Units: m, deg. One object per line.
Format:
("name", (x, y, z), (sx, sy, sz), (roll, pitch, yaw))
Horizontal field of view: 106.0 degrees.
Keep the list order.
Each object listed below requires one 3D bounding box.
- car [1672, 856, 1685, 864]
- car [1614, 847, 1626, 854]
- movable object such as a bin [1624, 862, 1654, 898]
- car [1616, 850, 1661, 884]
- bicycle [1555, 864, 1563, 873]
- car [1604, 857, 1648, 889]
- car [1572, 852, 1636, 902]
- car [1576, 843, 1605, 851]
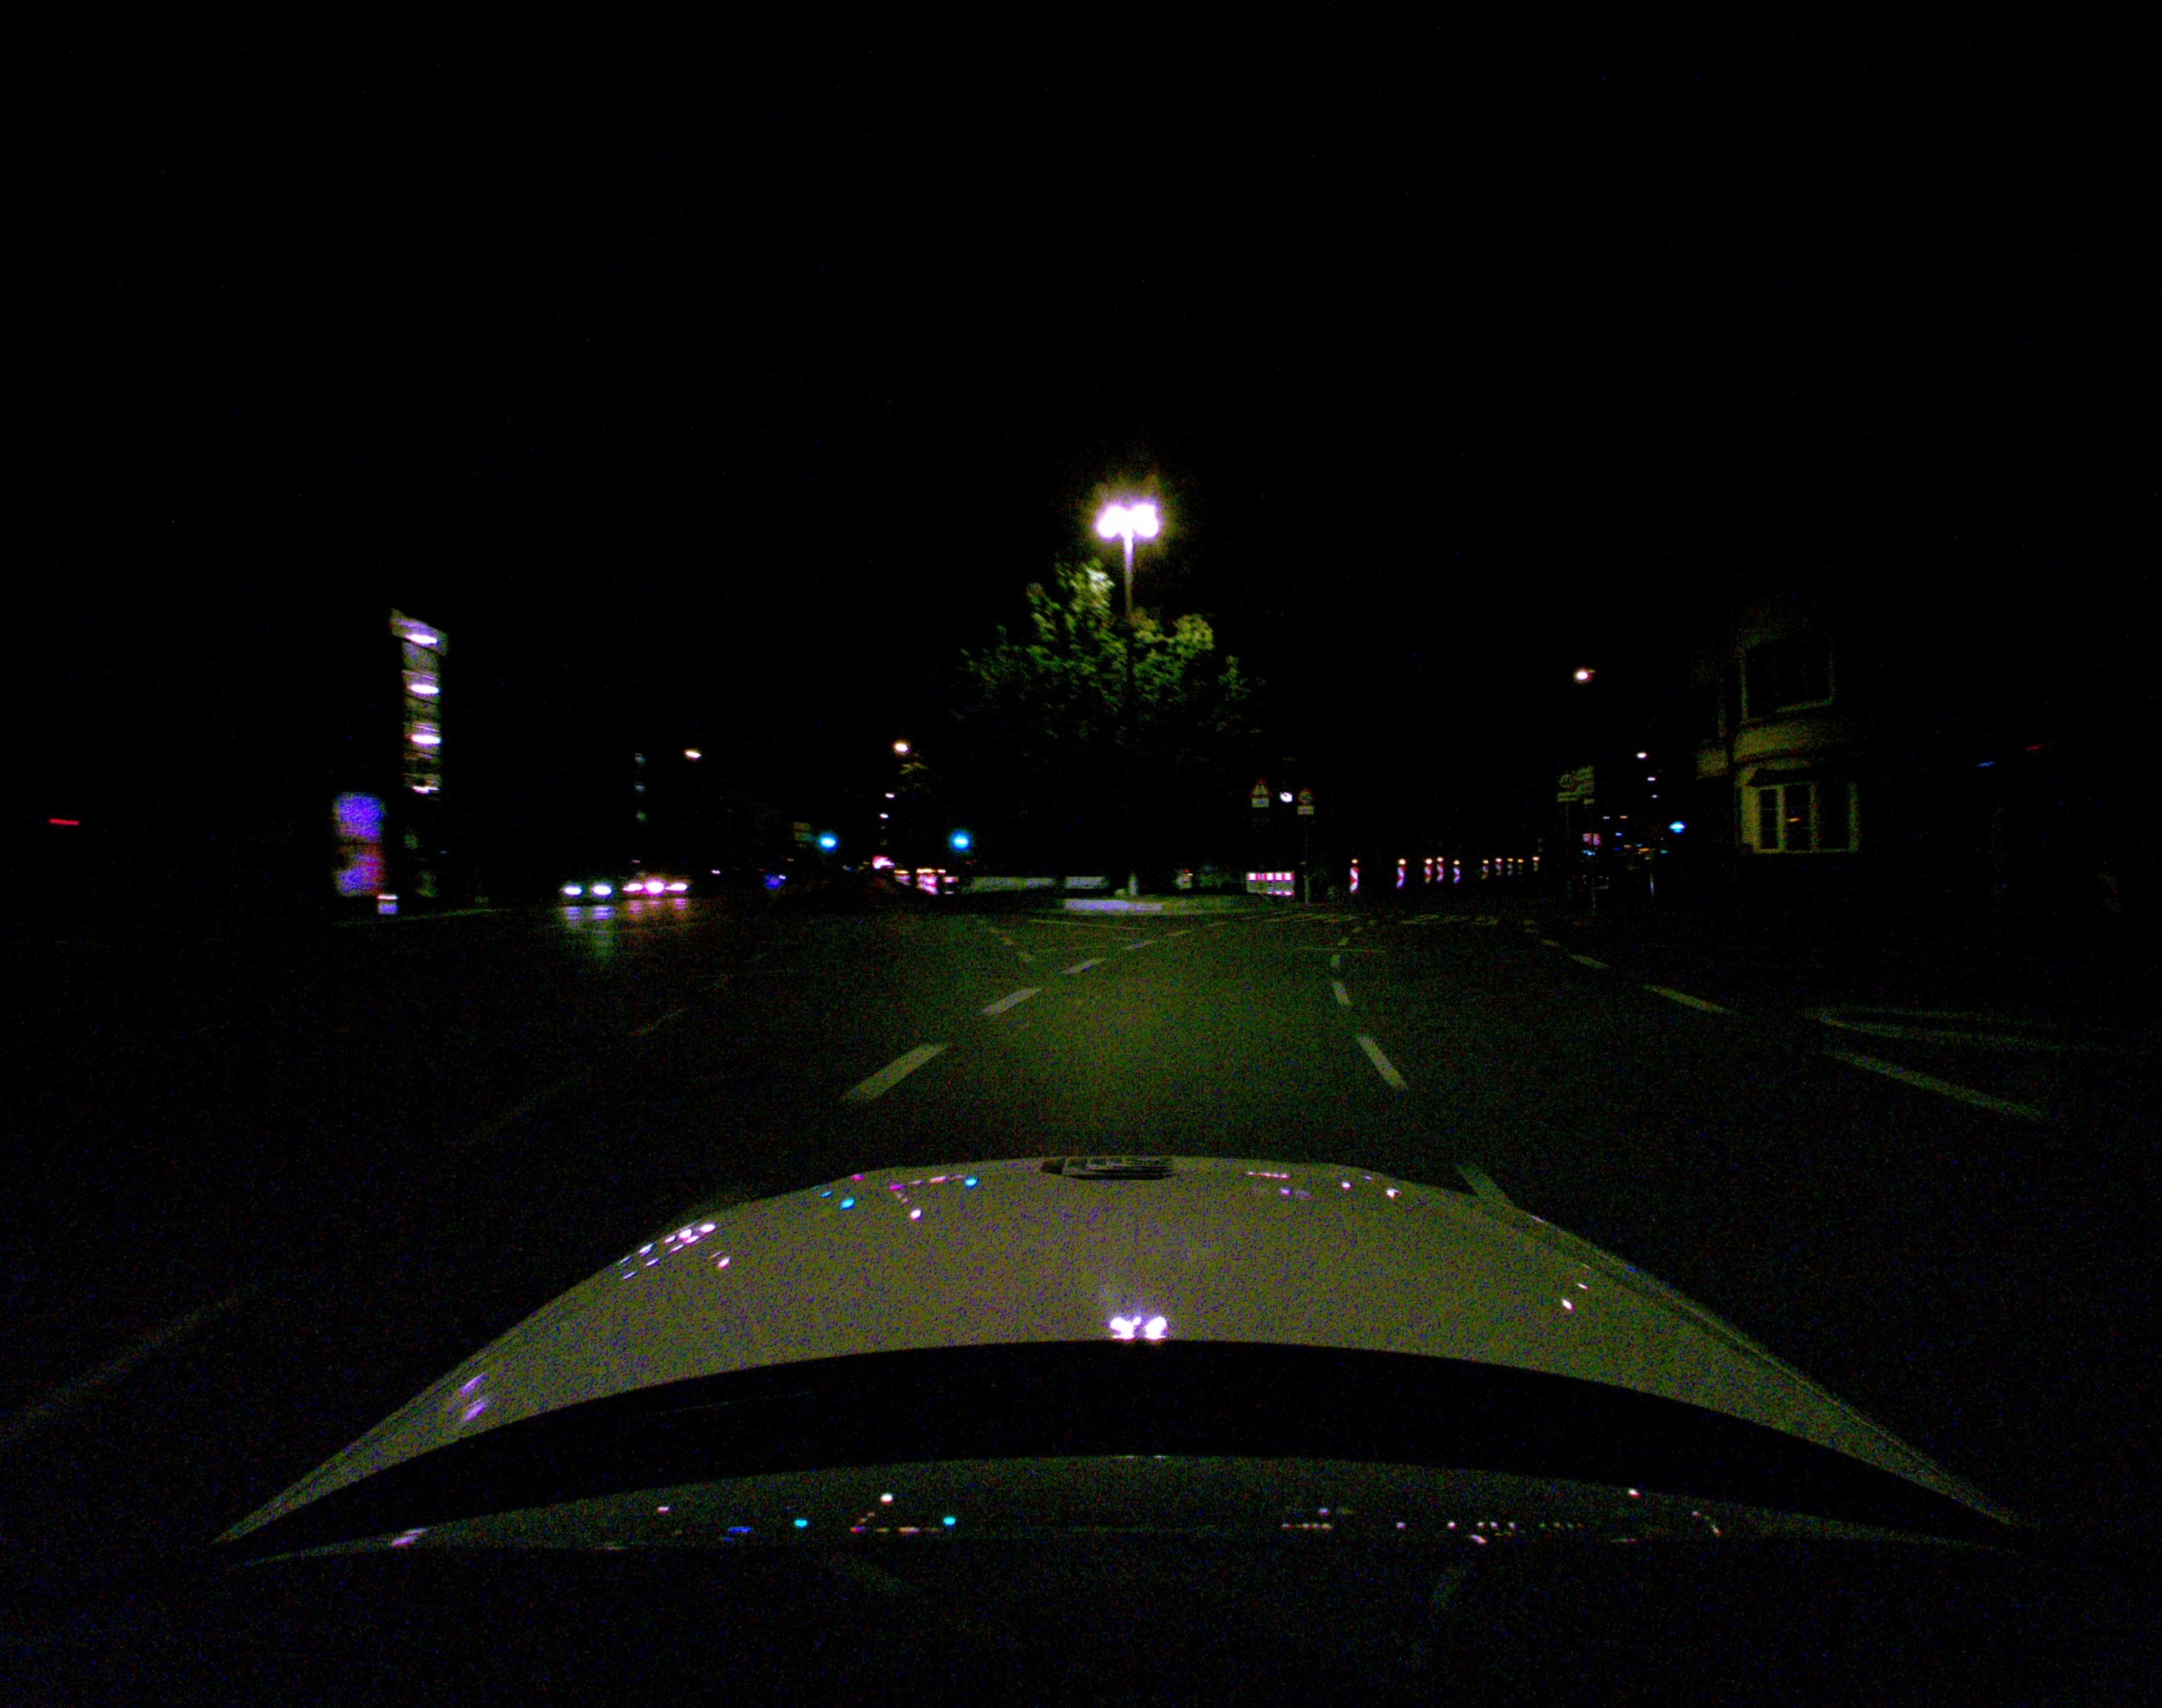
("car", (120.399, 1.174, 164.120), (1.974, 1.516, 4.025), (0, 0, 38))
("car", (123.086, -0.708, 185.866), (1.974, 1.502, 4.025), (-1, -1, 36))
("movable object such as a bin", (22.923, 1.052, 33.481), (0.928, 1.432, 1.347), (-3, -2, 33))
("car", (34.514, 0.827, 50.315), (2.052, 1.929, 5.404), (-3, -2, 36))
("bicycle", (58.277, 1.737, 99.336), (0.613, 1.052, 1.732), (-1, -1, 37))
("car", (28.943, 0.976, 43.224), (1.727, 1.566, 4.237), (-3, -2, 36))
("car", (19.553, 0.837, 30.372), (1.727, 1.683, 4.285), (-3, -2, 36))
("car", (95.060, -1.295, 152.019), (4.396, 1.450, 2.013), (-1, -1, 36))
